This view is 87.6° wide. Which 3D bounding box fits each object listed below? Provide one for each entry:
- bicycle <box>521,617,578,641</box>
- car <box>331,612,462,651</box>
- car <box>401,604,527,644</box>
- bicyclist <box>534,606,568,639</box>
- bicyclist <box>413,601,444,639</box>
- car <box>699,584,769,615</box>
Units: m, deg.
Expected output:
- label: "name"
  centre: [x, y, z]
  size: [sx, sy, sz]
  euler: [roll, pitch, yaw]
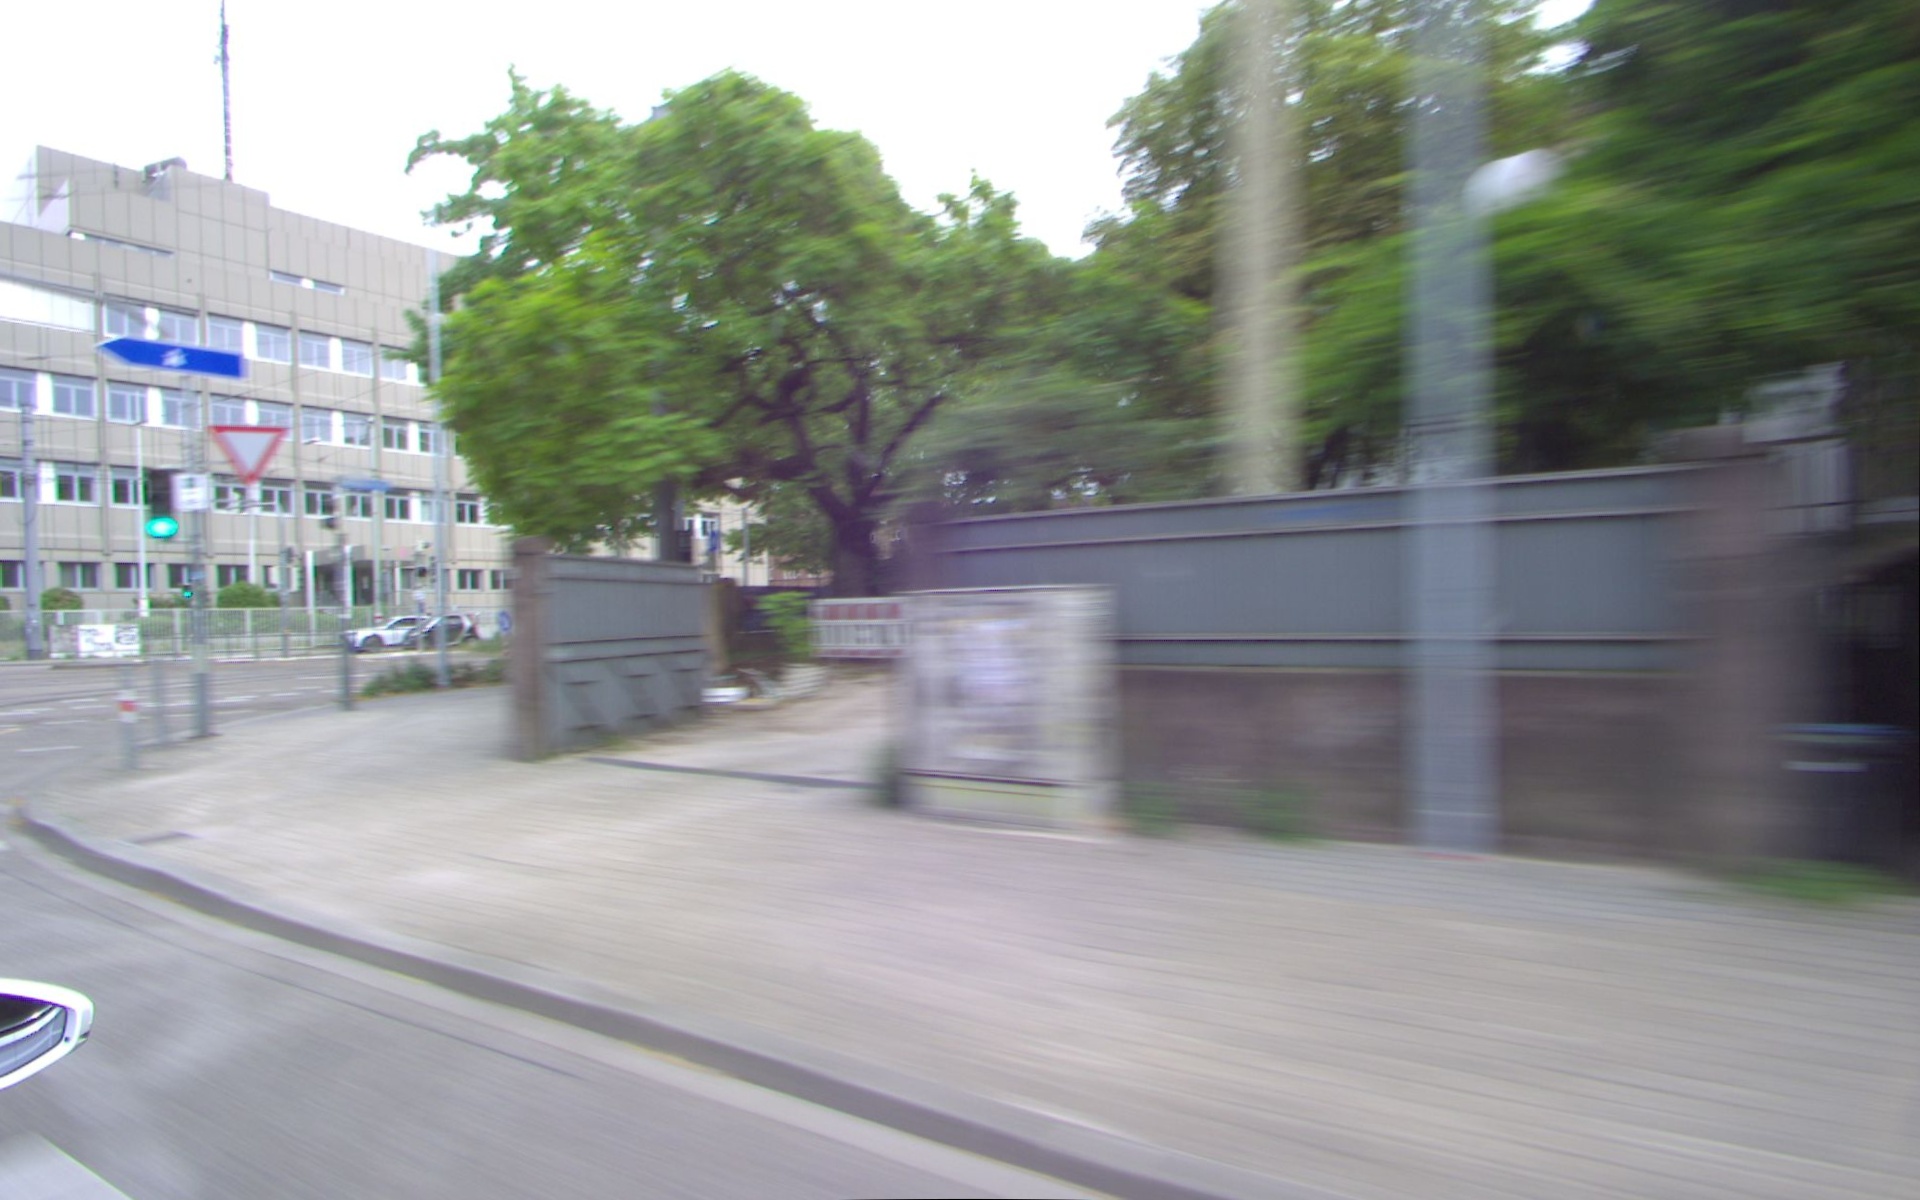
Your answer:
- label: "bicycle"
  centre: [-20.387, 1.436, 49.756]
  size: [0.794, 1.101, 2.540]
  euler: [-1, 0, 42]
- label: "car"
  centre: [-23.712, 1.274, 42.253]
  size: [1.977, 1.524, 4.386]
  euler: [-1, -1, 40]
- label: "car"
  centre: [-20.574, 0.974, 41.668]
  size: [1.817, 1.587, 4.382]
  euler: [-1, -1, 43]
- label: "bicyclist"
  centre: [-20.336, 1.110, 49.822]
  size: [0.794, 1.570, 1.318]
  euler: [-1, 0, 42]
- label: "bicyclist"
  centre: [-24.253, 0.903, 45.680]
  size: [1.166, 1.724, 0.798]
  euler: [0, 0, -33]
- label: "car"
  centre: [-19.056, 0.003, 84.396]
  size: [5.822, 2.430, 2.552]
  euler: [-1, -1, 36]
